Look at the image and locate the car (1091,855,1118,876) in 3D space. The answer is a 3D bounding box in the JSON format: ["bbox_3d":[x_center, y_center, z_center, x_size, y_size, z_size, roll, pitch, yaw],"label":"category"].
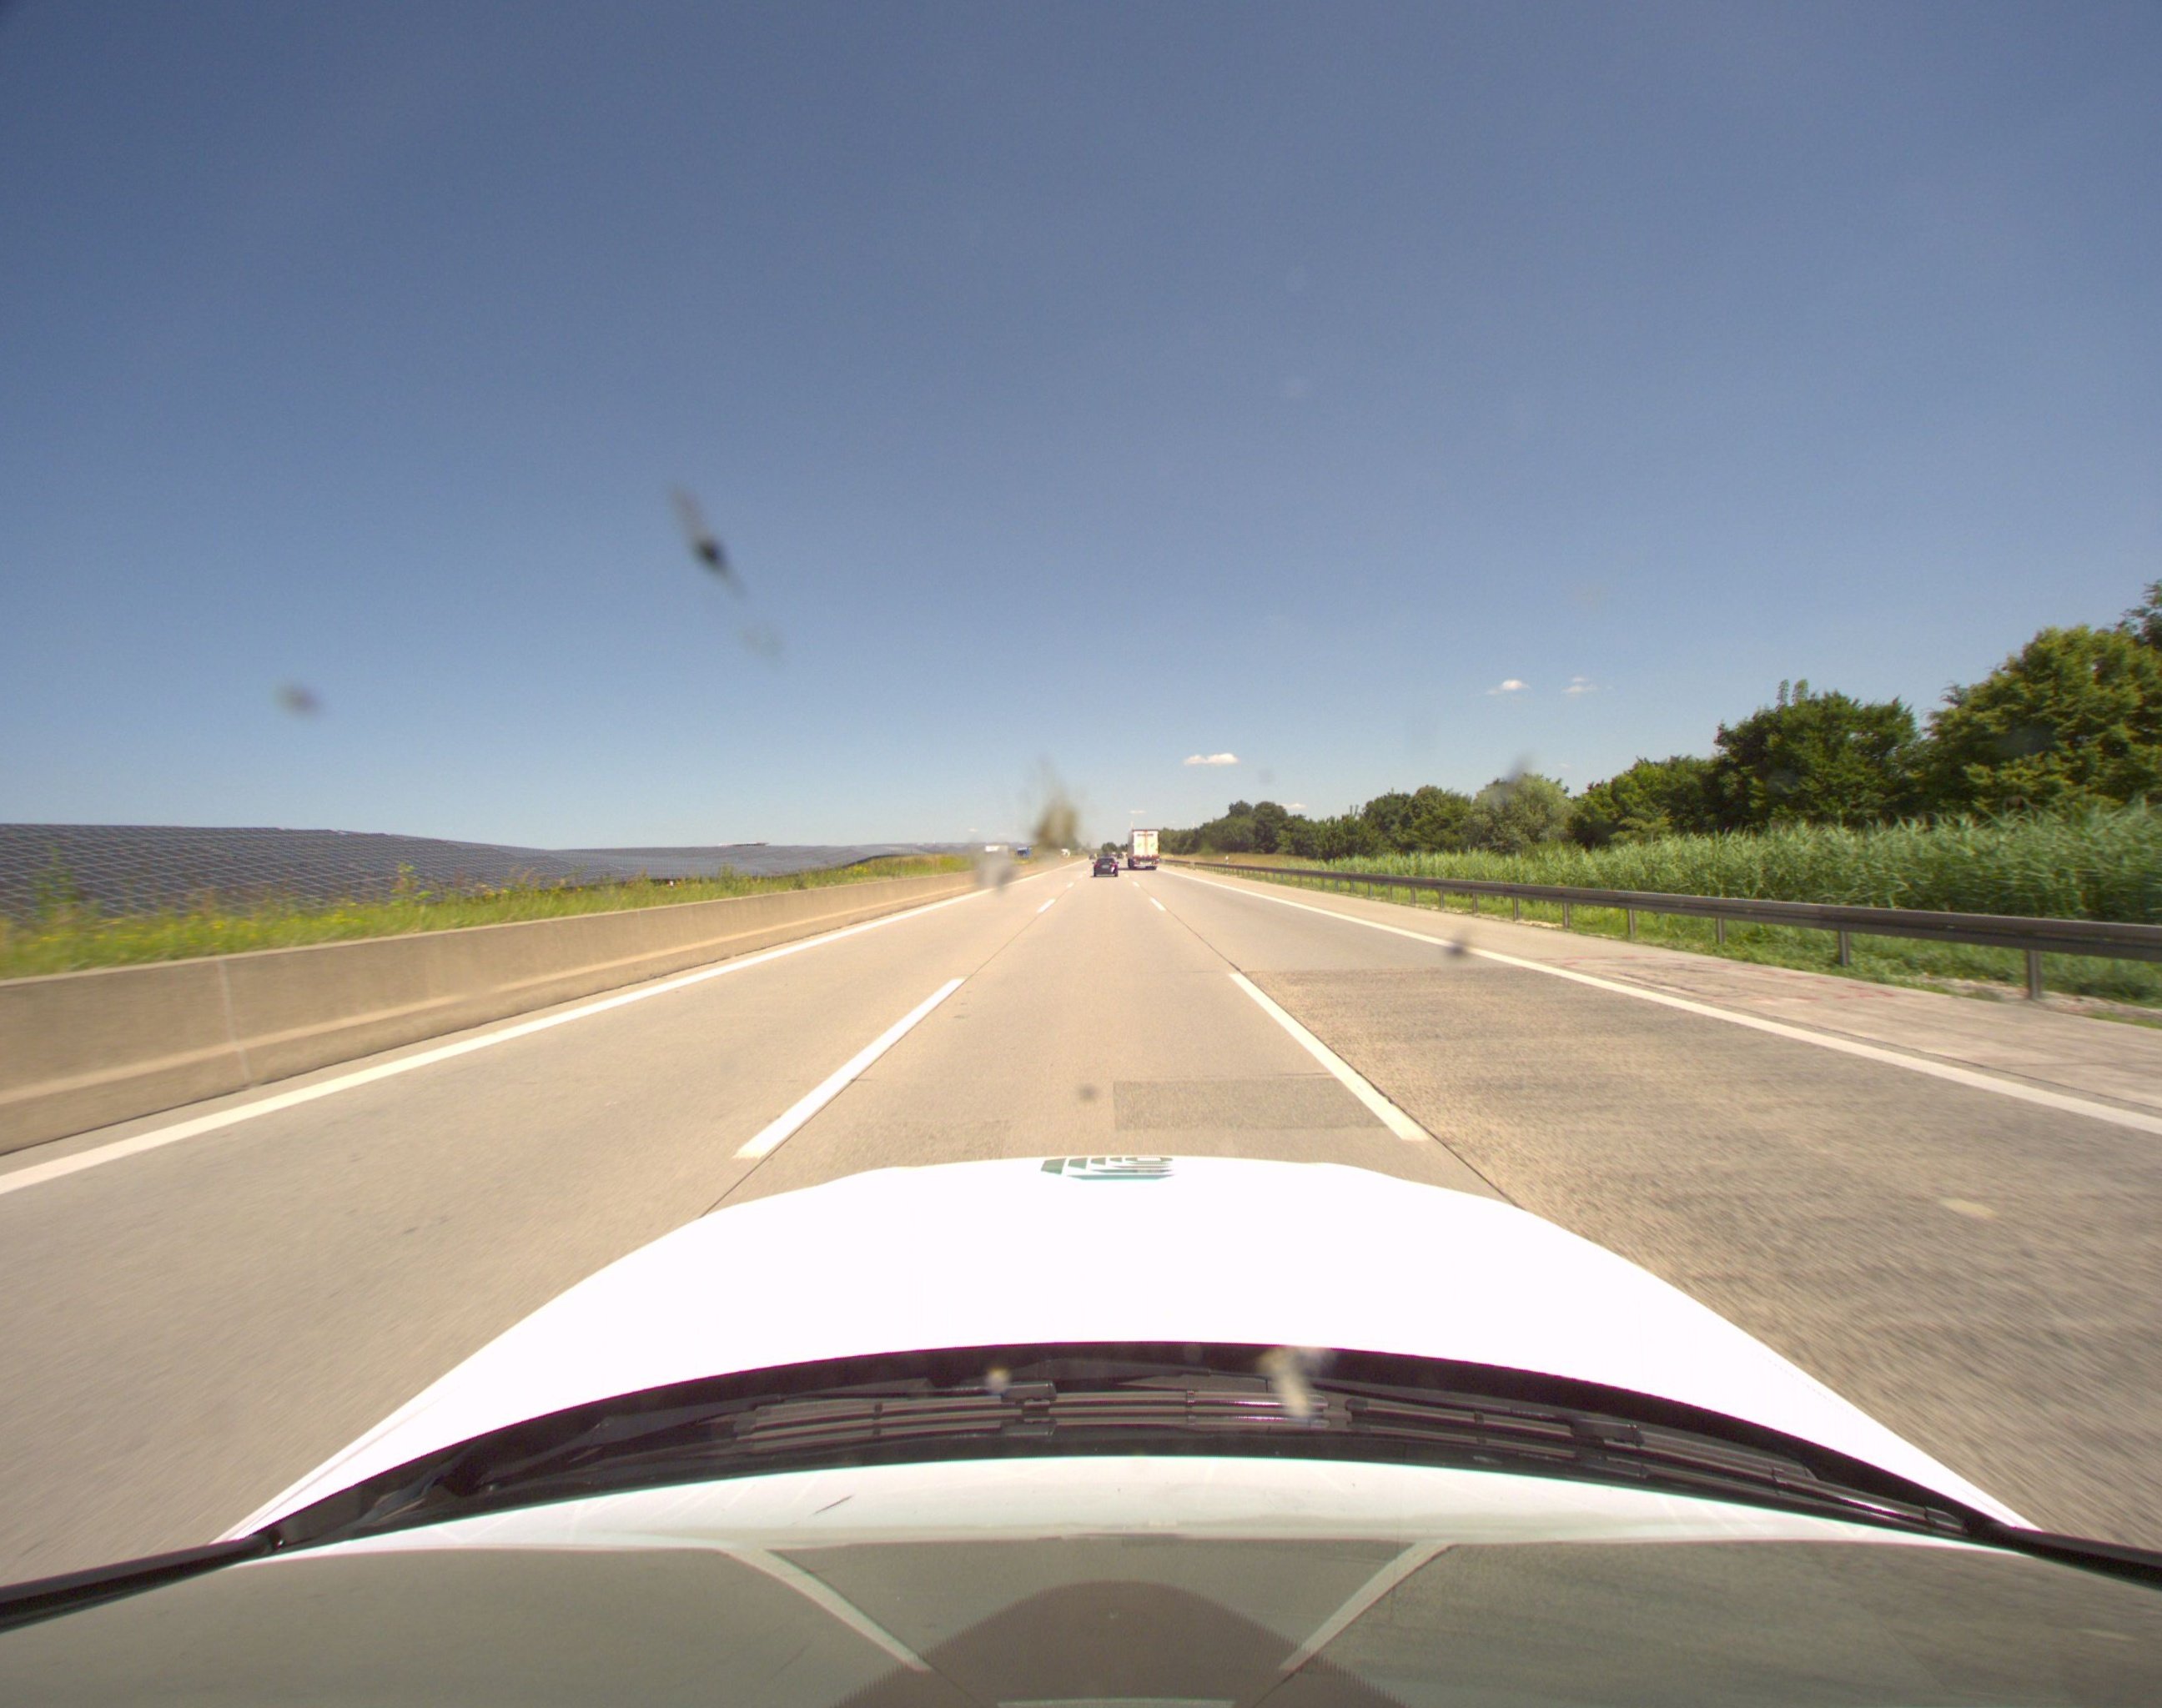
[{"bbox_3d":[1.728,0.790,59.500,1.903,1.492,4.193,0,0,1],"label":"car"}]

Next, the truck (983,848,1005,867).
[{"bbox_3d":[-15.994,0.695,150.717,3.110,3.487,6.888,0,-1,2],"label":"truck"}]

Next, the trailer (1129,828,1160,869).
[{"bbox_3d":[6.565,-0.518,85.771,2.841,4.042,12.721,-1,0,3],"label":"trailer"}]

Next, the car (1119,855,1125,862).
[{"bbox_3d":[11.790,1.319,234.353,1.820,1.907,4.001,-1,0,1],"label":"car"}]

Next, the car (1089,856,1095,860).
[{"bbox_3d":[3.161,1.168,230.177,1.649,1.196,3.961,2,0,2],"label":"car"}]
